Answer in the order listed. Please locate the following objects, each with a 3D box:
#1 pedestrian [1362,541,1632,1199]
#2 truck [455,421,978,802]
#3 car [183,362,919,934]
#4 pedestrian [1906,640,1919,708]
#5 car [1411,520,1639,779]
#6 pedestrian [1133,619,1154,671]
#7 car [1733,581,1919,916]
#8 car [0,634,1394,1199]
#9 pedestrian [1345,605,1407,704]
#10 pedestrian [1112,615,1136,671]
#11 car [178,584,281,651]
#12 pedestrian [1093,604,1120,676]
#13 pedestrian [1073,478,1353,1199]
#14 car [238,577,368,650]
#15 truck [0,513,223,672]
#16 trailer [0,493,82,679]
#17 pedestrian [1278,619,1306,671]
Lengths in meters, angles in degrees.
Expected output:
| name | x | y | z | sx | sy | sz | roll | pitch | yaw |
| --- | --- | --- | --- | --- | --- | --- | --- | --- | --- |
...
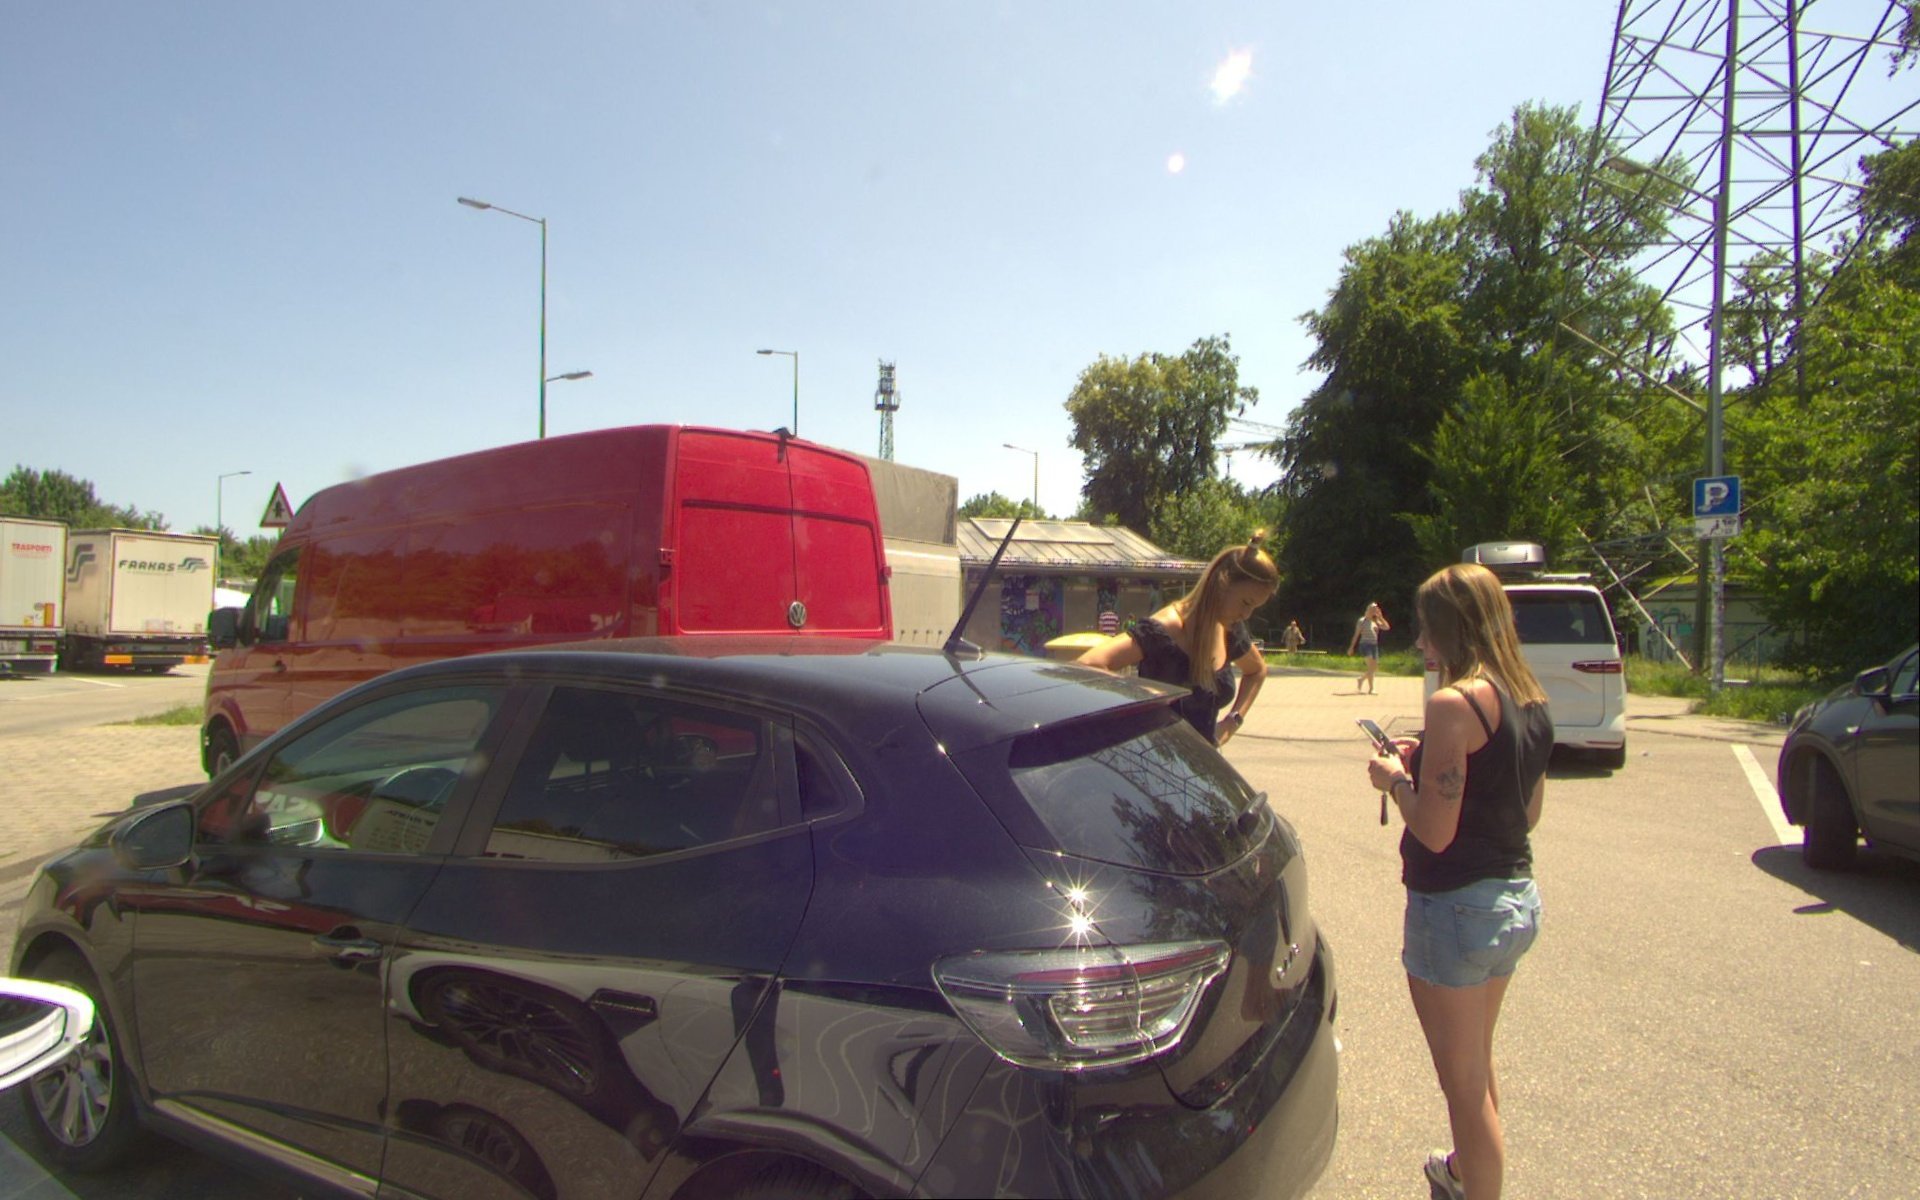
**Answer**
| name | x | y | z | sx | sy | sz | roll | pitch | yaw |
| --- | --- | --- | --- | --- | --- | --- | --- | --- | --- |
| pedestrian | 1.205 | 0.699 | 2.274 | 0.478 | 1.615 | 0.501 | 0 | 0 | 29 |
| truck | -2.483 | 0.170 | 9.912 | 4.751 | 2.863 | 2.514 | -1 | -2 | 34 |
| car | -3.387 | 0.249 | 7.345 | 6.298 | 2.668 | 1.988 | 0 | -1 | 36 |
| pedestrian | 17.127 | 1.294 | 17.434 | 0.694 | 1.178 | 0.787 | -1 | -1 | 22 |
| car | 6.642 | 0.519 | 11.892 | 1.901 | 2.401 | 4.954 | 1 | -1 | 29 |
| pedestrian | 4.868 | 1.182 | 26.509 | 0.439 | 1.362 | 0.477 | 0 | 0 | 23 |
| car | 5.507 | 0.729 | 4.402 | 1.804 | 1.638 | 4.164 | 1 | -1 | 14 |
| car | -0.817 | 0.840 | 2.787 | 3.628 | 1.476 | 1.776 | -1 | -2 | 27 |
| pedestrian | 8.154 | 1.055 | 19.658 | 0.762 | 1.903 | 0.840 | 0 | -1 | -11 |
| pedestrian | 4.390 | 1.131 | 26.815 | 0.521 | 1.478 | 0.576 | 0 | 0 | 23 |
| car | -29.923 | 0.750 | 41.017 | 3.943 | 2.632 | 2.111 | -1 | -2 | 32 |
| pedestrian | 3.689 | 0.993 | 25.238 | 0.520 | 1.783 | 0.651 | 0 | 0 | 23 |
| pedestrian | 0.805 | 0.642 | 3.076 | 0.481 | 1.884 | 0.906 | 0 | 0 | 39 |
| car | -29.521 | 0.596 | 44.951 | 6.259 | 3.115 | 2.495 | 0 | -1 | 32 |
| truck | -27.100 | -0.028 | 31.199 | 11.800 | 4.279 | 2.582 | -1 | -2 | 32 |
| trailer | -28.580 | -0.343 | 27.854 | 12.642 | 4.511 | 2.677 | 0 | -1 | 32 |
| pedestrian | 13.365 | 1.810 | 40.343 | 0.955 | 2.039 | 0.829 | 0 | -1 | 10 |
